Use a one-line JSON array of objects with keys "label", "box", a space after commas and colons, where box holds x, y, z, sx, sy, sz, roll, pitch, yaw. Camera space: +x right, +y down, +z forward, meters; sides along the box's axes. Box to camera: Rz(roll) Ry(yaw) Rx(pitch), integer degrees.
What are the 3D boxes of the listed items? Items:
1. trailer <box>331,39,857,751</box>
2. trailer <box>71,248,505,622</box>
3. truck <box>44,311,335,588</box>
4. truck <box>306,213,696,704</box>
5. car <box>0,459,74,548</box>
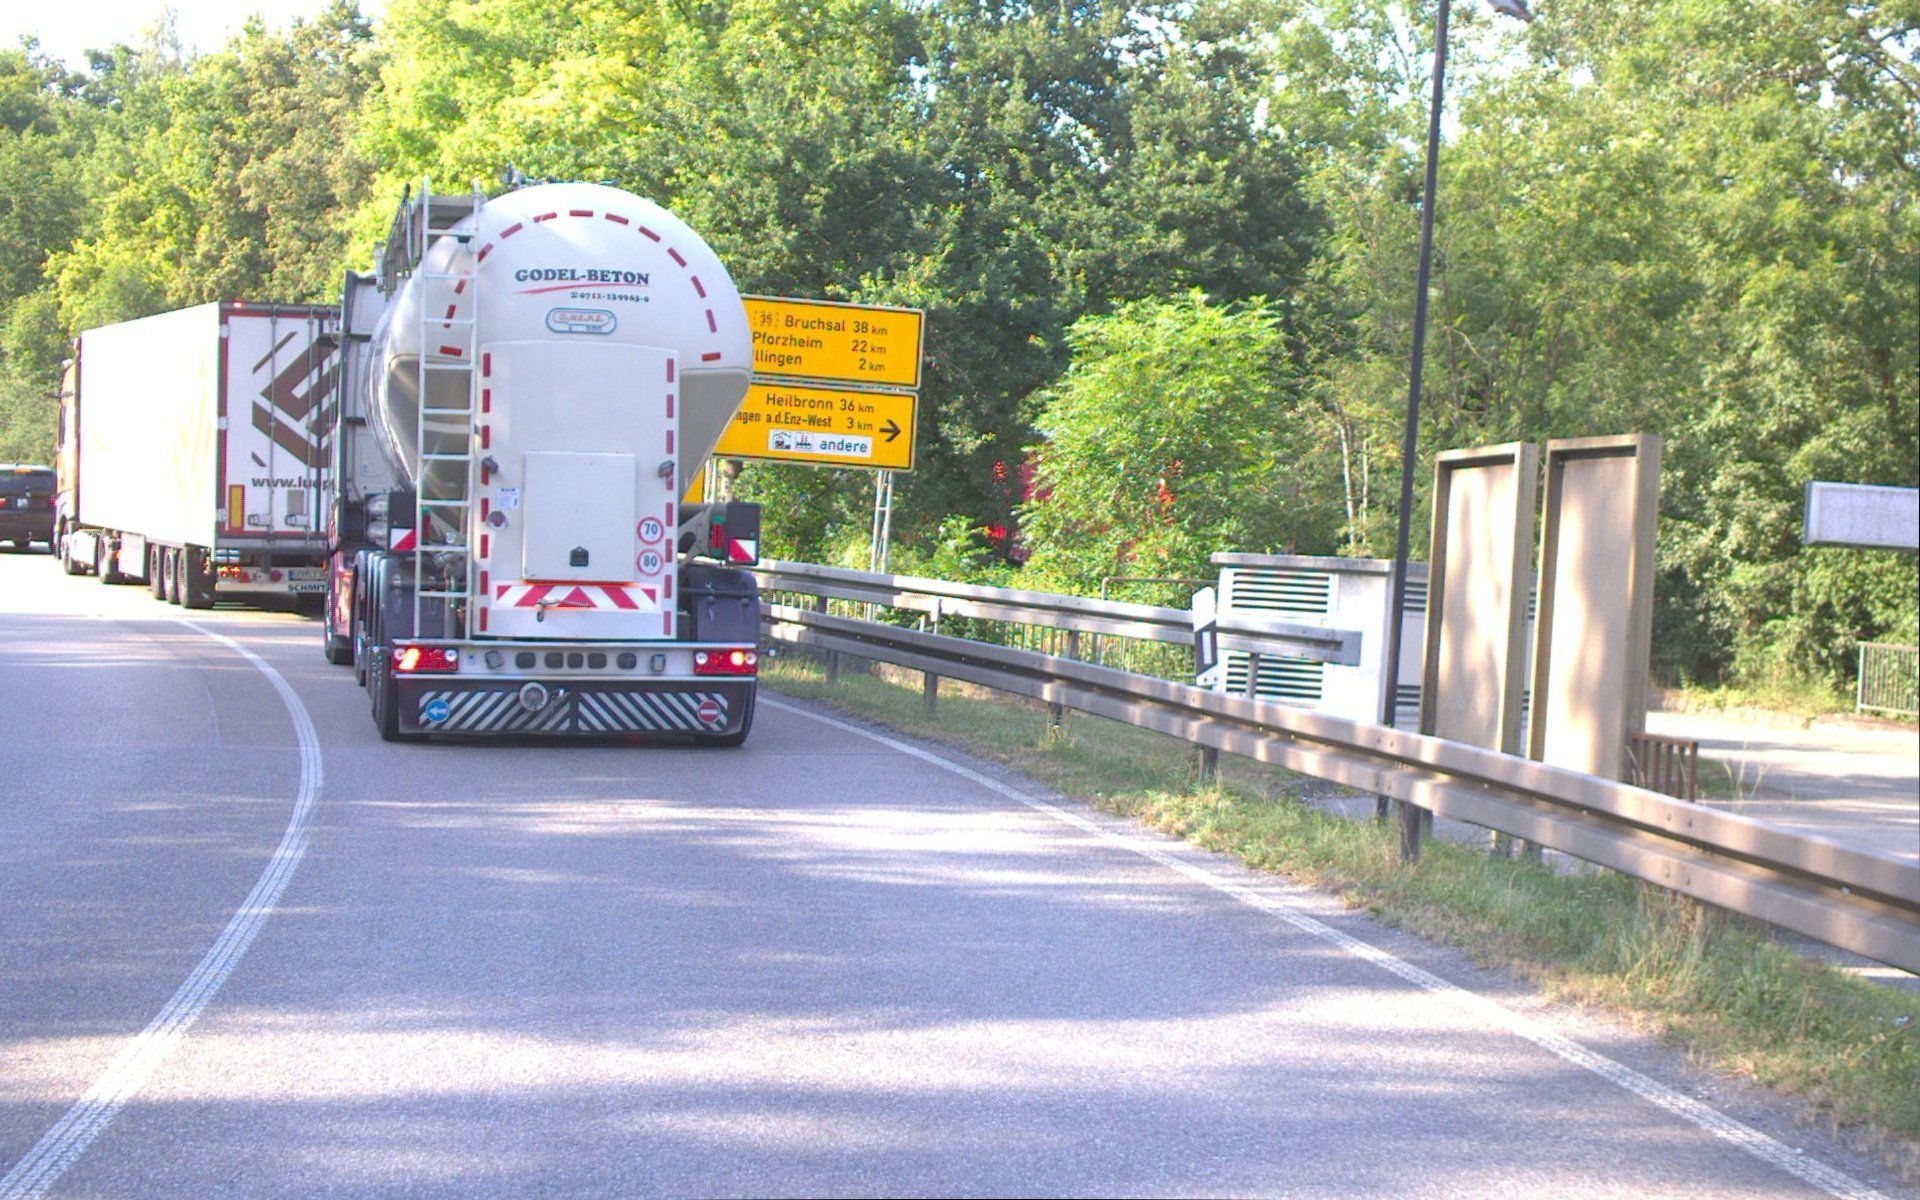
[{"label": "trailer", "box": [-3.228, -1.447, 27.132, 2.886, 4.439, 9.609, 4, 1, -12]}, {"label": "trailer", "box": [-9.956, -2.252, 49.163, 3.544, 4.497, 12.988, 2, 1, -22]}, {"label": "truck", "box": [-12.592, -2.387, 55.719, 3.449, 4.072, 6.493, 2, 1, -22]}, {"label": "truck", "box": [-4.468, -1.283, 32.392, 2.823, 4.021, 5.896, 4, 1, -13]}, {"label": "car", "box": [-18.918, -1.933, 67.291, 1.867, 1.622, 4.000, 3, 1, -32]}]
